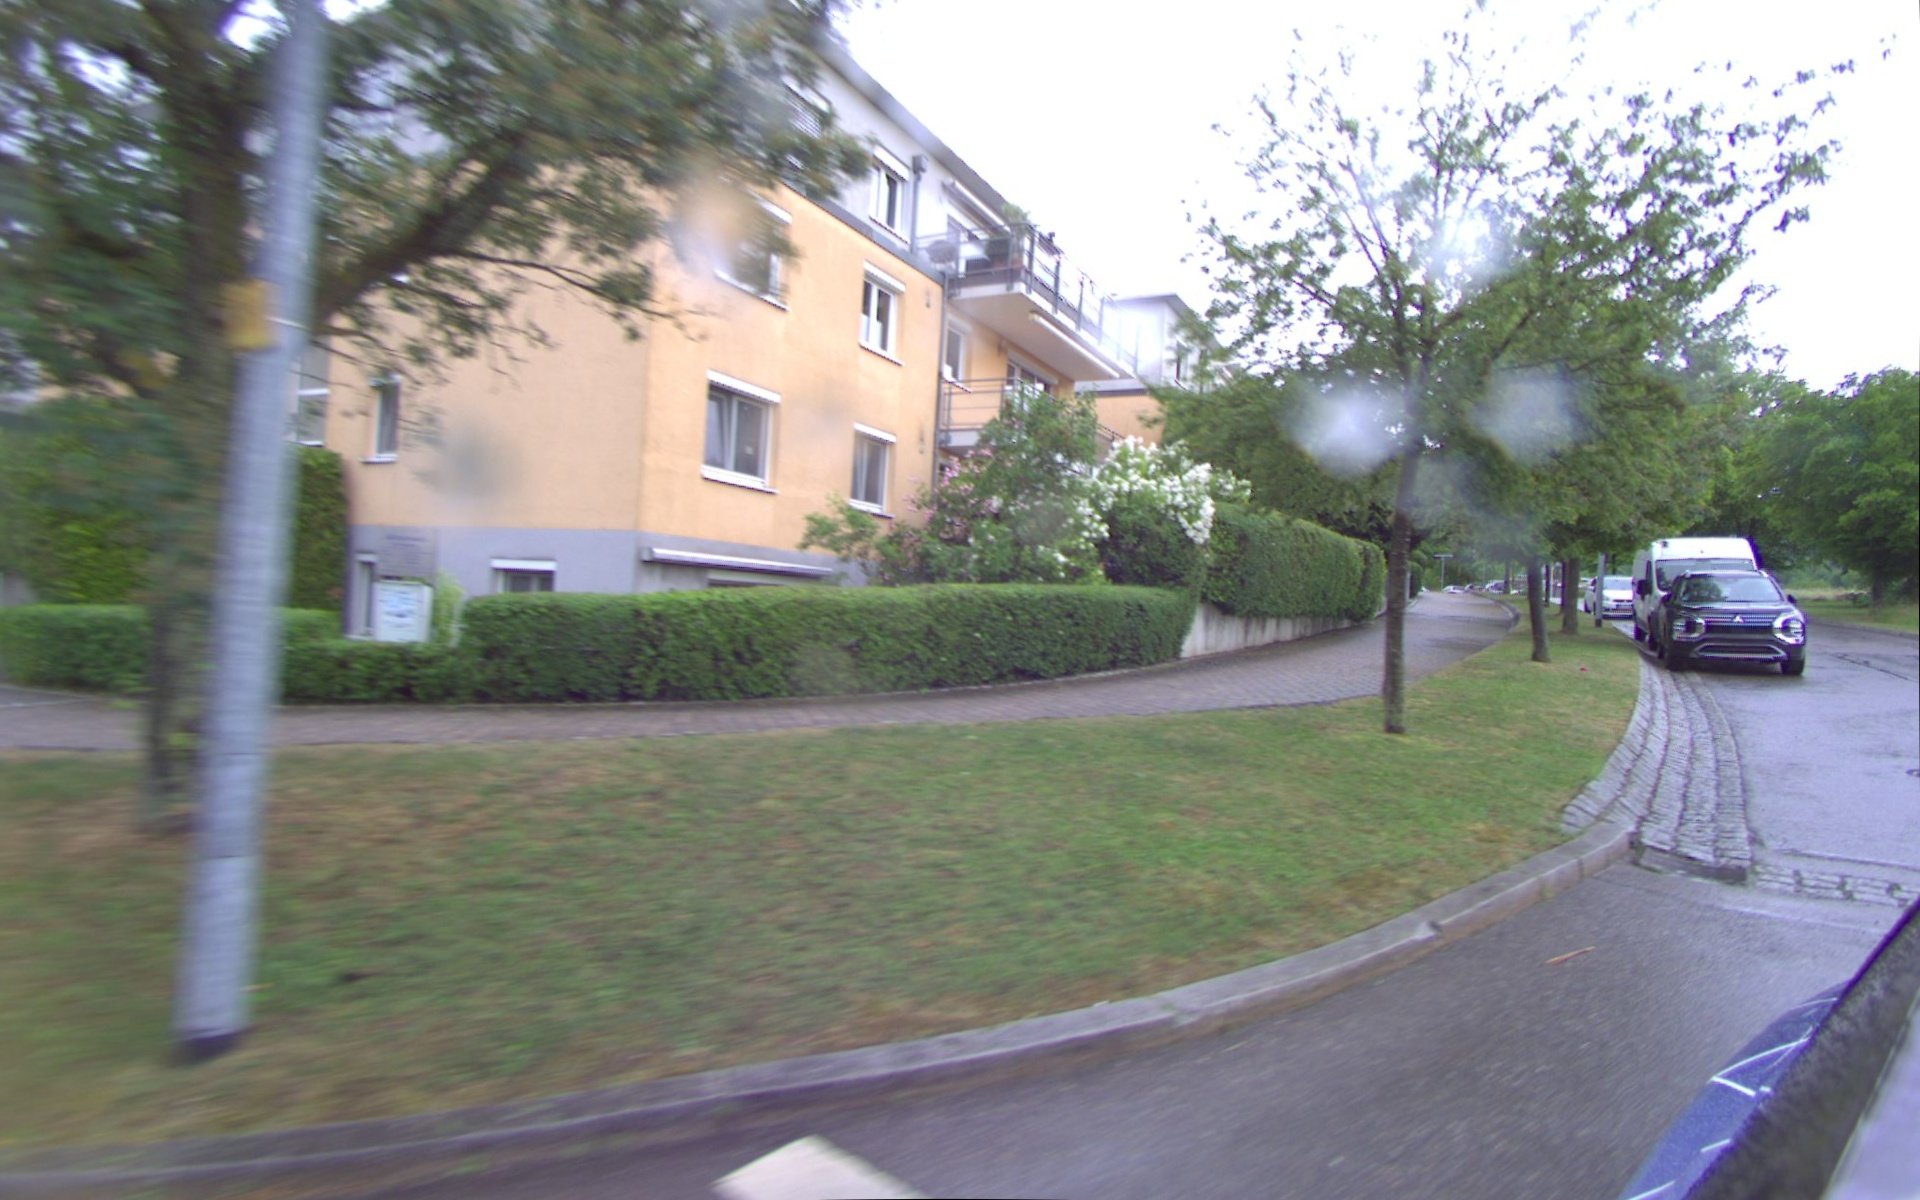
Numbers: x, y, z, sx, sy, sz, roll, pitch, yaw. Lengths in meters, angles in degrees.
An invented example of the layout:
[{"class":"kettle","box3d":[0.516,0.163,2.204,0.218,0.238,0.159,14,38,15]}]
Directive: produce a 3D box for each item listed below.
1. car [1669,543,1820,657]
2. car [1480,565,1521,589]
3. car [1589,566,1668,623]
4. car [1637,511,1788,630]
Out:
[{"class":"car","box3d":[13.678,-0.119,17.880,1.805,1.748,4.596,2,3,35]},{"class":"car","box3d":[44.233,-1.885,82.888,1.947,1.871,3.984,1,3,14]},{"class":"car","box3d":[23.860,-0.247,36.266,1.807,1.806,3.788,1,4,26]},{"class":"car","box3d":[16.831,-0.675,22.924,2.037,2.360,5.351,1,2,30]}]
